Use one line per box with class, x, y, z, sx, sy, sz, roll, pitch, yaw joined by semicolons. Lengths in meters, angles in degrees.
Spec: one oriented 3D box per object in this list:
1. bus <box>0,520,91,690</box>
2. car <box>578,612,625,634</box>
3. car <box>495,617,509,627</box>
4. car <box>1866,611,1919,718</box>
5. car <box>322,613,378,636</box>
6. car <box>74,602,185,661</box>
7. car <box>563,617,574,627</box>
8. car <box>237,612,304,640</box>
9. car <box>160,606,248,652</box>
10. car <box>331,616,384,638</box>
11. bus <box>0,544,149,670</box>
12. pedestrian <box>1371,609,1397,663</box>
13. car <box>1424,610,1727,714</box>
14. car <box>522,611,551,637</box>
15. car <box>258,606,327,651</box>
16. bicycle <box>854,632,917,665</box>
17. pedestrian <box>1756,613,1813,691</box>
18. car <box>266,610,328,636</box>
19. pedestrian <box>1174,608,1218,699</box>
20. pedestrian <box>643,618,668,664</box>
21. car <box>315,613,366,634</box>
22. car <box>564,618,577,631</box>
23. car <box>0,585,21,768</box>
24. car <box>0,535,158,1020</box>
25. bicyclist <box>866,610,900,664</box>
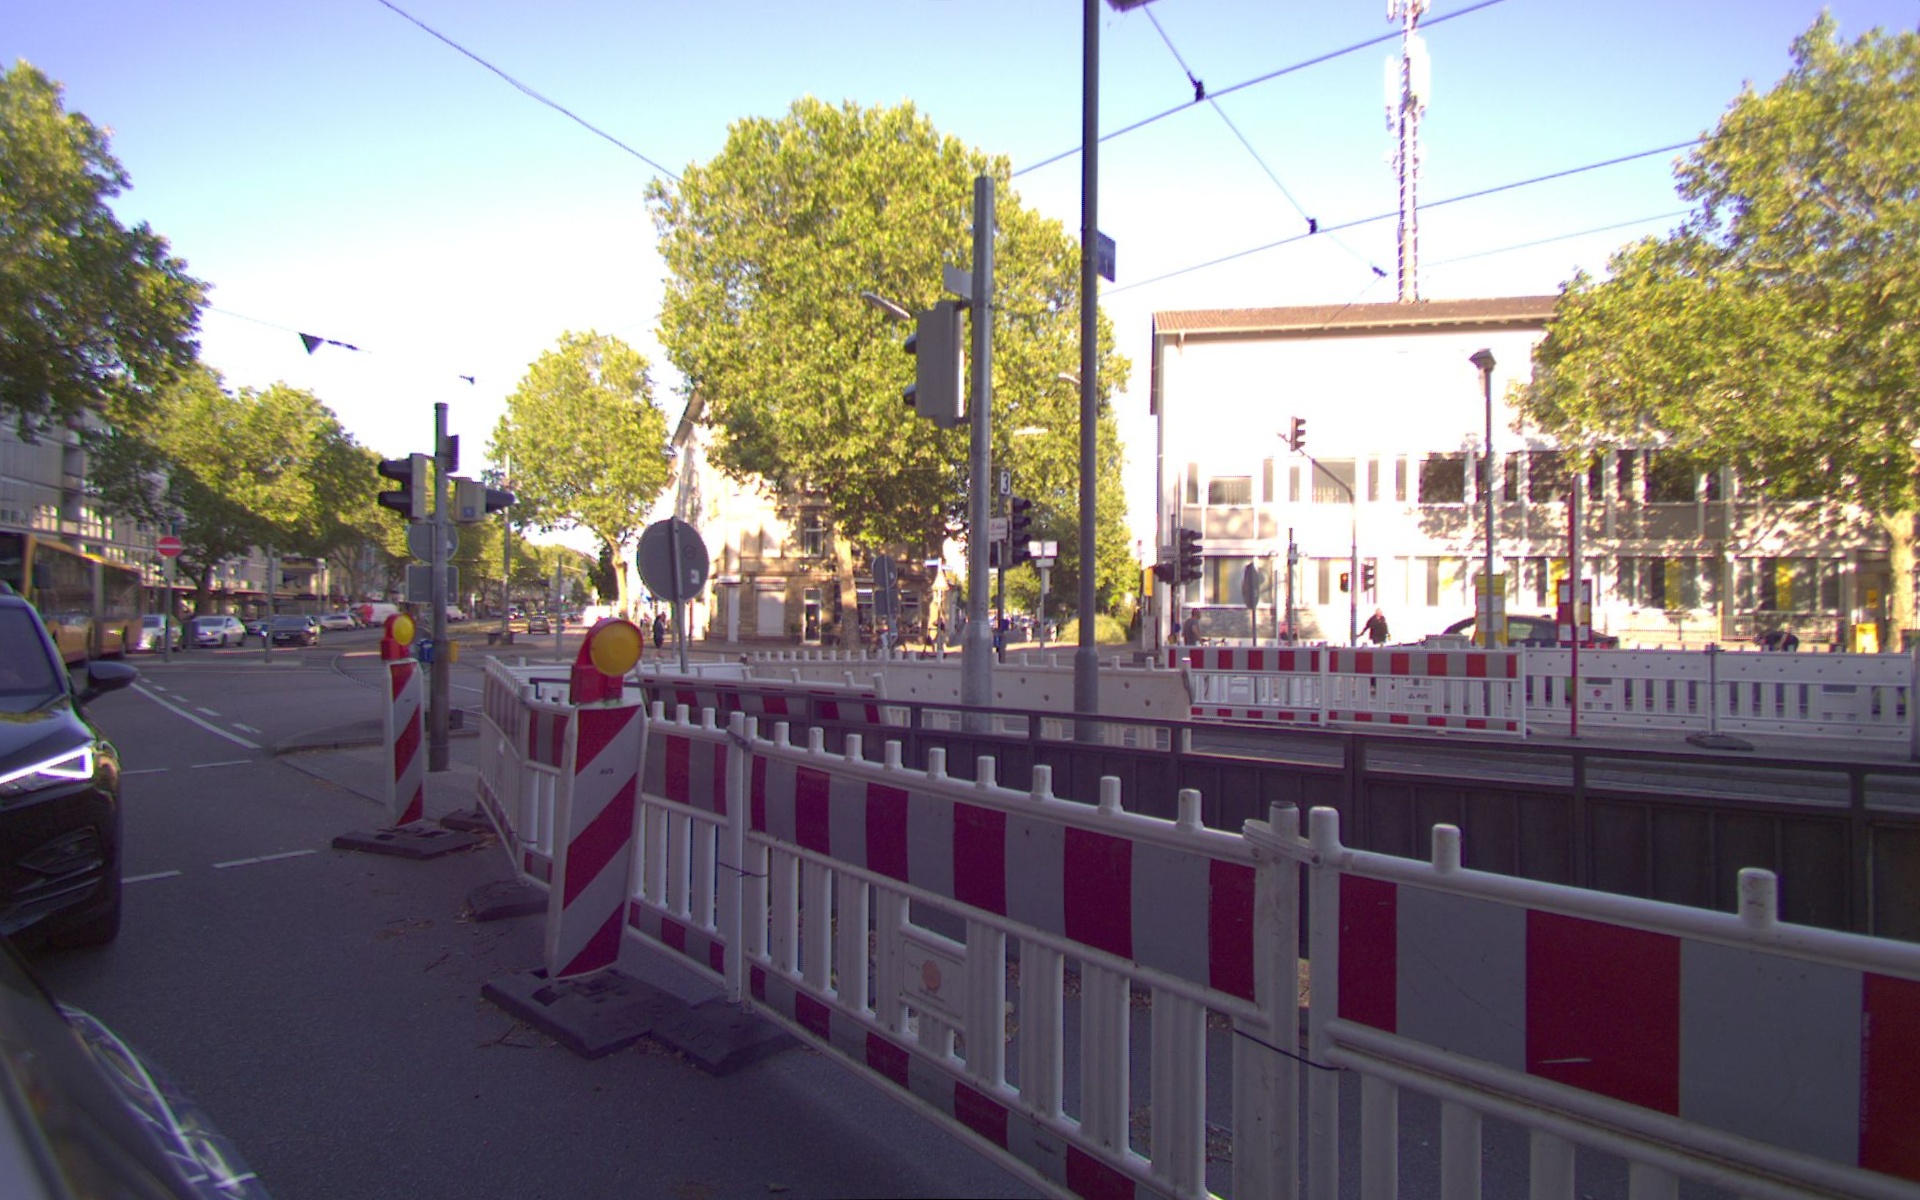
bus;-20.841;0.150;21.654;2.678;3.130;8.641;1;-2;-36
car;-34.256;2.202;96.797;1.990;2.029;3.963;0;-2;27
car;-80.288;3.910;177.305;1.809;1.715;4.143;1;-2;-19
car;16.880;1.012;15.736;3.994;1.674;1.974;-1;-2;38
car;-54.499;2.199;90.487;3.938;2.029;2.002;1;-2;-42
car;-30.640;1.144;37.481;1.965;2.029;4.111;1;-1;-21
car;-65.527;3.707;169.456;1.661;1.761;4.013;1;-1;-20
car;-50.682;1.915;74.432;3.932;2.029;2.006;1;-2;-32
car;-34.698;1.336;46.586;1.966;2.029;4.012;1;-1;-17
car;-56.788;2.569;95.464;3.938;2.029;2.002;1;-2;-42
bus;-25.720;0.252;28.969;2.676;3.130;8.622;1;-2;-31
pedestrian;12.447;1.065;29.718;0.649;1.564;0.563;-1;-2;28
car;11.175;1.047;18.538;4.552;1.674;1.974;-1;-2;38
car;-34.173;1.938;81.791;1.965;2.029;4.013;1;-1;-20
car;-31.442;1.332;47.780;1.965;2.029;4.013;1;-1;-22
bicycle;-2.821;1.809;38.069;2.463;1.202;0.841;-1;-2;40
pedestrian;19.824;1.237;24.346;0.923;1.847;0.693;-1;-2;28
car;-53.885;1.881;82.240;3.938;2.029;2.002;1;-2;-42
pedestrian;4.656;1.039;19.980;0.545;1.760;0.693;1;-2;-24
pedestrian;-10.421;1.400;34.615;0.594;1.545;0.746;1;-2;-38
car;-60.091;2.268;98.204;3.938;2.029;2.002;1;-2;-42
car;-55.985;3.540;145.361;1.661;1.866;4.013;1;-1;-20
car;-10.744;0.694;9.816;4.073;1.656;1.973;-1;-2;41
car;-5.216;0.641;4.545;3.998;1.719;1.818;-1;-2;41
bicyclist;-2.909;1.389;38.156;0.983;2.029;0.844;-1;-2;40
